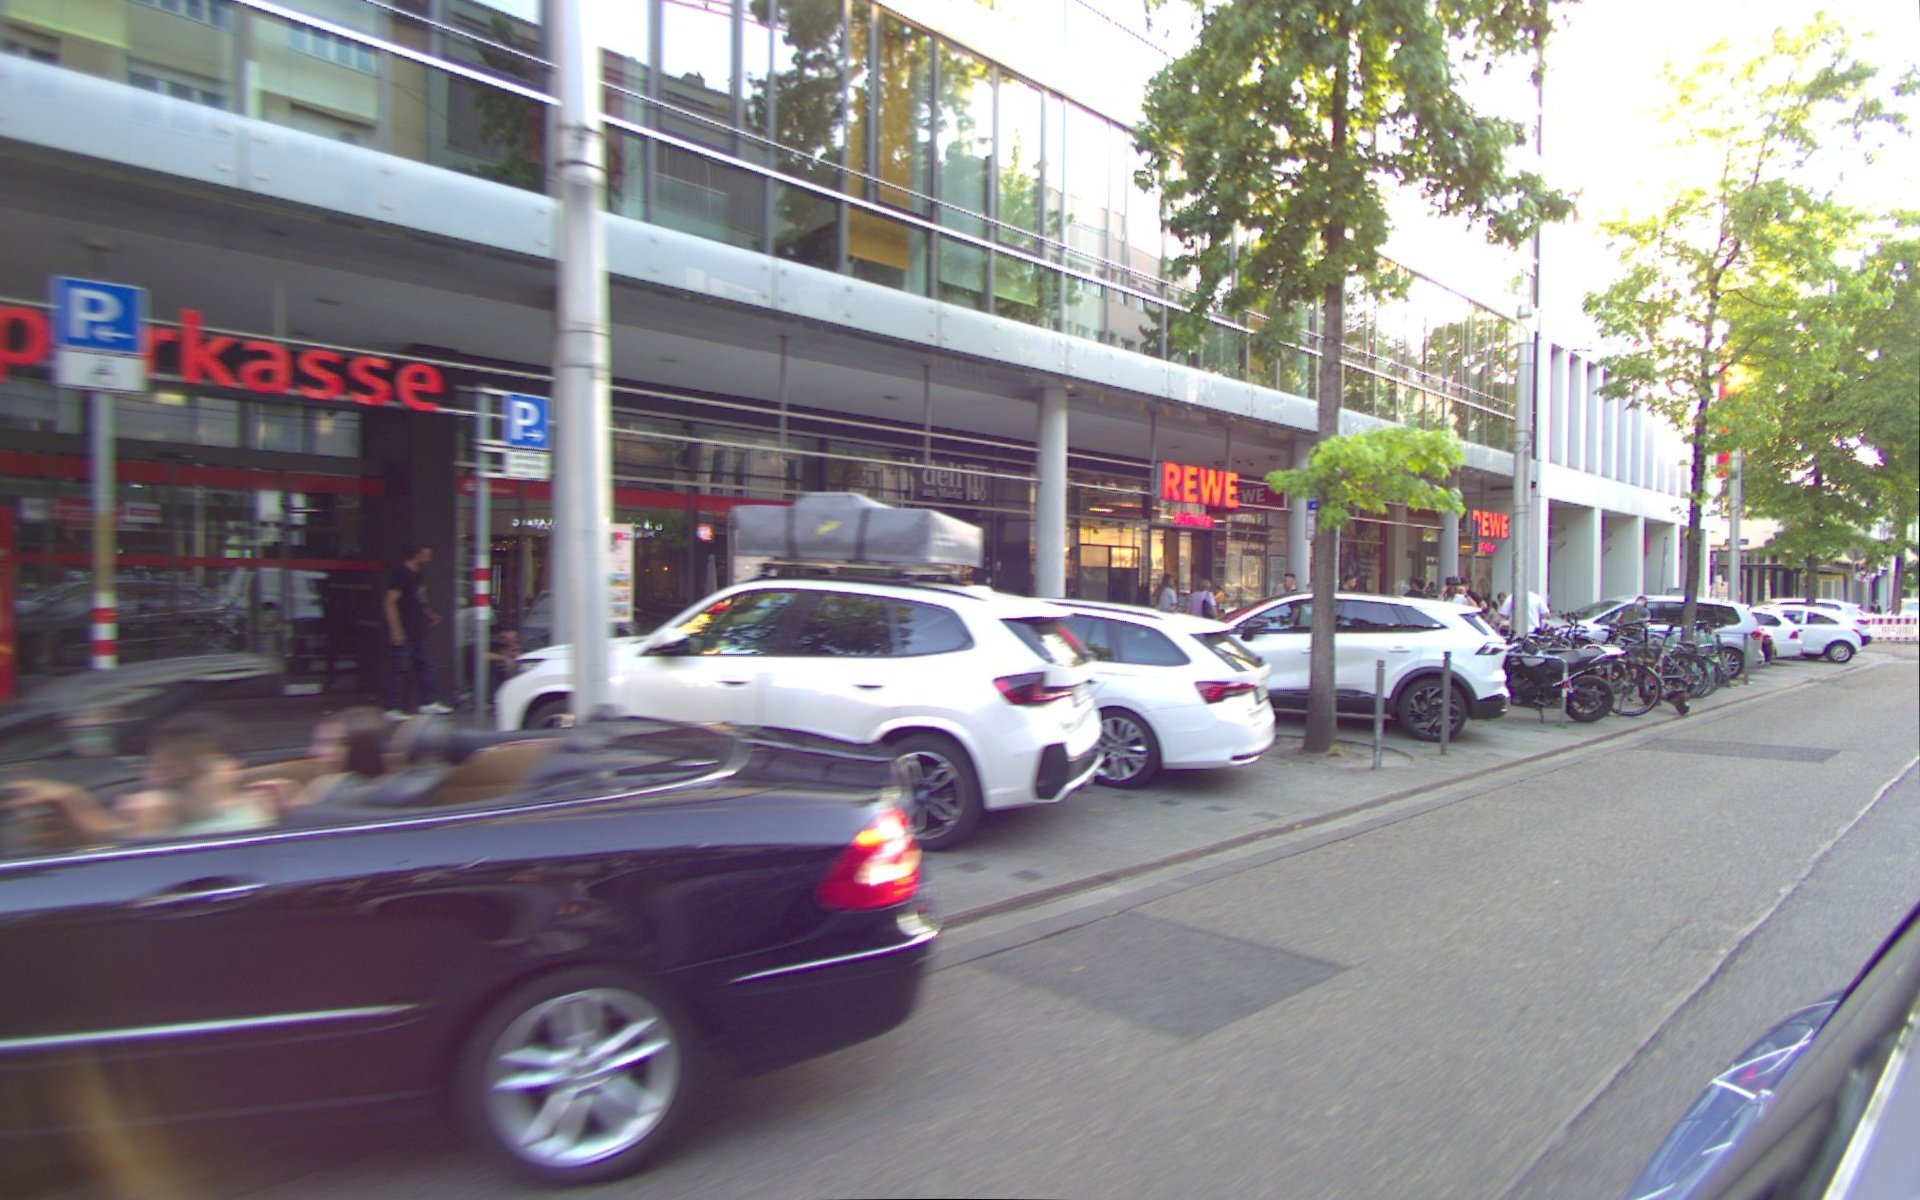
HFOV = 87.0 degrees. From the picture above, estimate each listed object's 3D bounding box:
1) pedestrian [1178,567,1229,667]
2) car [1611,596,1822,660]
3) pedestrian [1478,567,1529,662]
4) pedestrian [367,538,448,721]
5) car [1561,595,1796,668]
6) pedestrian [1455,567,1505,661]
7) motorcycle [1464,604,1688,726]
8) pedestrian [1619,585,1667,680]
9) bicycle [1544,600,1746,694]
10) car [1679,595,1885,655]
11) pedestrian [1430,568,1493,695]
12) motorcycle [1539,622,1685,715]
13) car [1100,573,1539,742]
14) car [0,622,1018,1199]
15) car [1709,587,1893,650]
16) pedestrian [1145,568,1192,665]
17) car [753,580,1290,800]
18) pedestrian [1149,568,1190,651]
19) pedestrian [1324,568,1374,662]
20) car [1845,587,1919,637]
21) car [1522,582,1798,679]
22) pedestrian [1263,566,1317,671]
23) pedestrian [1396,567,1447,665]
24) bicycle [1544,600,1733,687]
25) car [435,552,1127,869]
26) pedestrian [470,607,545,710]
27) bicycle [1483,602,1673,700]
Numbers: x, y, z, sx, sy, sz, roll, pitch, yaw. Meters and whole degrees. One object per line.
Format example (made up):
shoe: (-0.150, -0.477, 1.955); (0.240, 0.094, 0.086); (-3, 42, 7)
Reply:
pedestrian: (4.277, 0.288, 17.785); (0.617, 1.712, 0.617); (0, 2, -41)
car: (19.533, 0.729, 26.342); (3.949, 1.530, 1.788); (-2, -1, 20)
pedestrian: (9.995, 0.249, 18.616); (0.617, 1.712, 0.617); (0, 2, -41)
pedestrian: (-5.624, 0.277, 10.297); (0.617, 1.794, 0.557); (0, 2, -41)
car: (16.358, 0.719, 23.253); (3.938, 1.530, 1.793); (-2, -1, 12)
pedestrian: (9.735, 0.247, 18.945); (0.617, 1.712, 0.617); (0, 2, -41)
motorcycle: (7.788, 0.795, 12.904); (2.071, 1.370, 1.157); (2, 2, 0)
pedestrian: (12.634, 0.586, 18.720); (0.616, 1.712, 0.618); (1, 0, 44)
bicycle: (11.352, 0.780, 16.897); (2.643, 1.475, 0.724); (-2, -1, 23)
car: (22.635, 0.696, 28.075); (3.949, 1.530, 1.853); (-2, -1, 20)
pedestrian: (7.466, 0.445, 15.060); (0.617, 1.822, 0.617); (0, 2, -41)
motorcycle: (8.962, 0.920, 13.978); (1.555, 1.113, 0.624); (3, 2, 25)
car: (4.110, 0.569, 12.219); (4.571, 1.607, 1.910); (3, 2, 15)
car: (-2.228, 0.824, 3.142); (4.470, 1.426, 1.803); (-1, -1, -11)
car: (25.917, 0.596, 31.364); (3.958, 1.809, 1.849); (-2, -1, 26)
pedestrian: (3.782, 0.285, 18.375); (0.617, 1.712, 0.557); (0, 2, -41)
car: (0.567, 0.647, 9.358); (4.584, 1.457, 1.904); (3, 2, 22)
pedestrian: (4.403, 0.191, 21.281); (0.549, 1.712, 0.626); (0, 2, -44)
pedestrian: (7.259, 0.262, 18.885); (0.617, 1.712, 0.617); (0, 2, -41)
car: (36.430, 0.428, 38.522); (3.919, 1.809, 1.867); (-1, -1, -6)
car: (14.760, 0.661, 21.619); (4.398, 1.904, 1.793); (-2, -1, 12)
pedestrian: (5.548, 0.289, 17.022); (0.617, 1.712, 0.617); (0, 2, -41)
pedestrian: (8.264, 0.264, 18.125); (0.617, 1.712, 0.617); (0, 2, -41)
bicycle: (11.921, 0.767, 17.907); (2.643, 1.475, 0.671); (-2, -1, 24)
car: (-1.228, 0.599, 7.374); (4.576, 1.650, 1.907); (3, 0, 18)
pedestrian: (-4.964, 0.619, 11.100); (0.625, 1.048, 0.550); (2, 2, 41)
bicycle: (9.736, 0.799, 16.070); (2.462, 1.475, 0.652); (-2, -1, 24)
